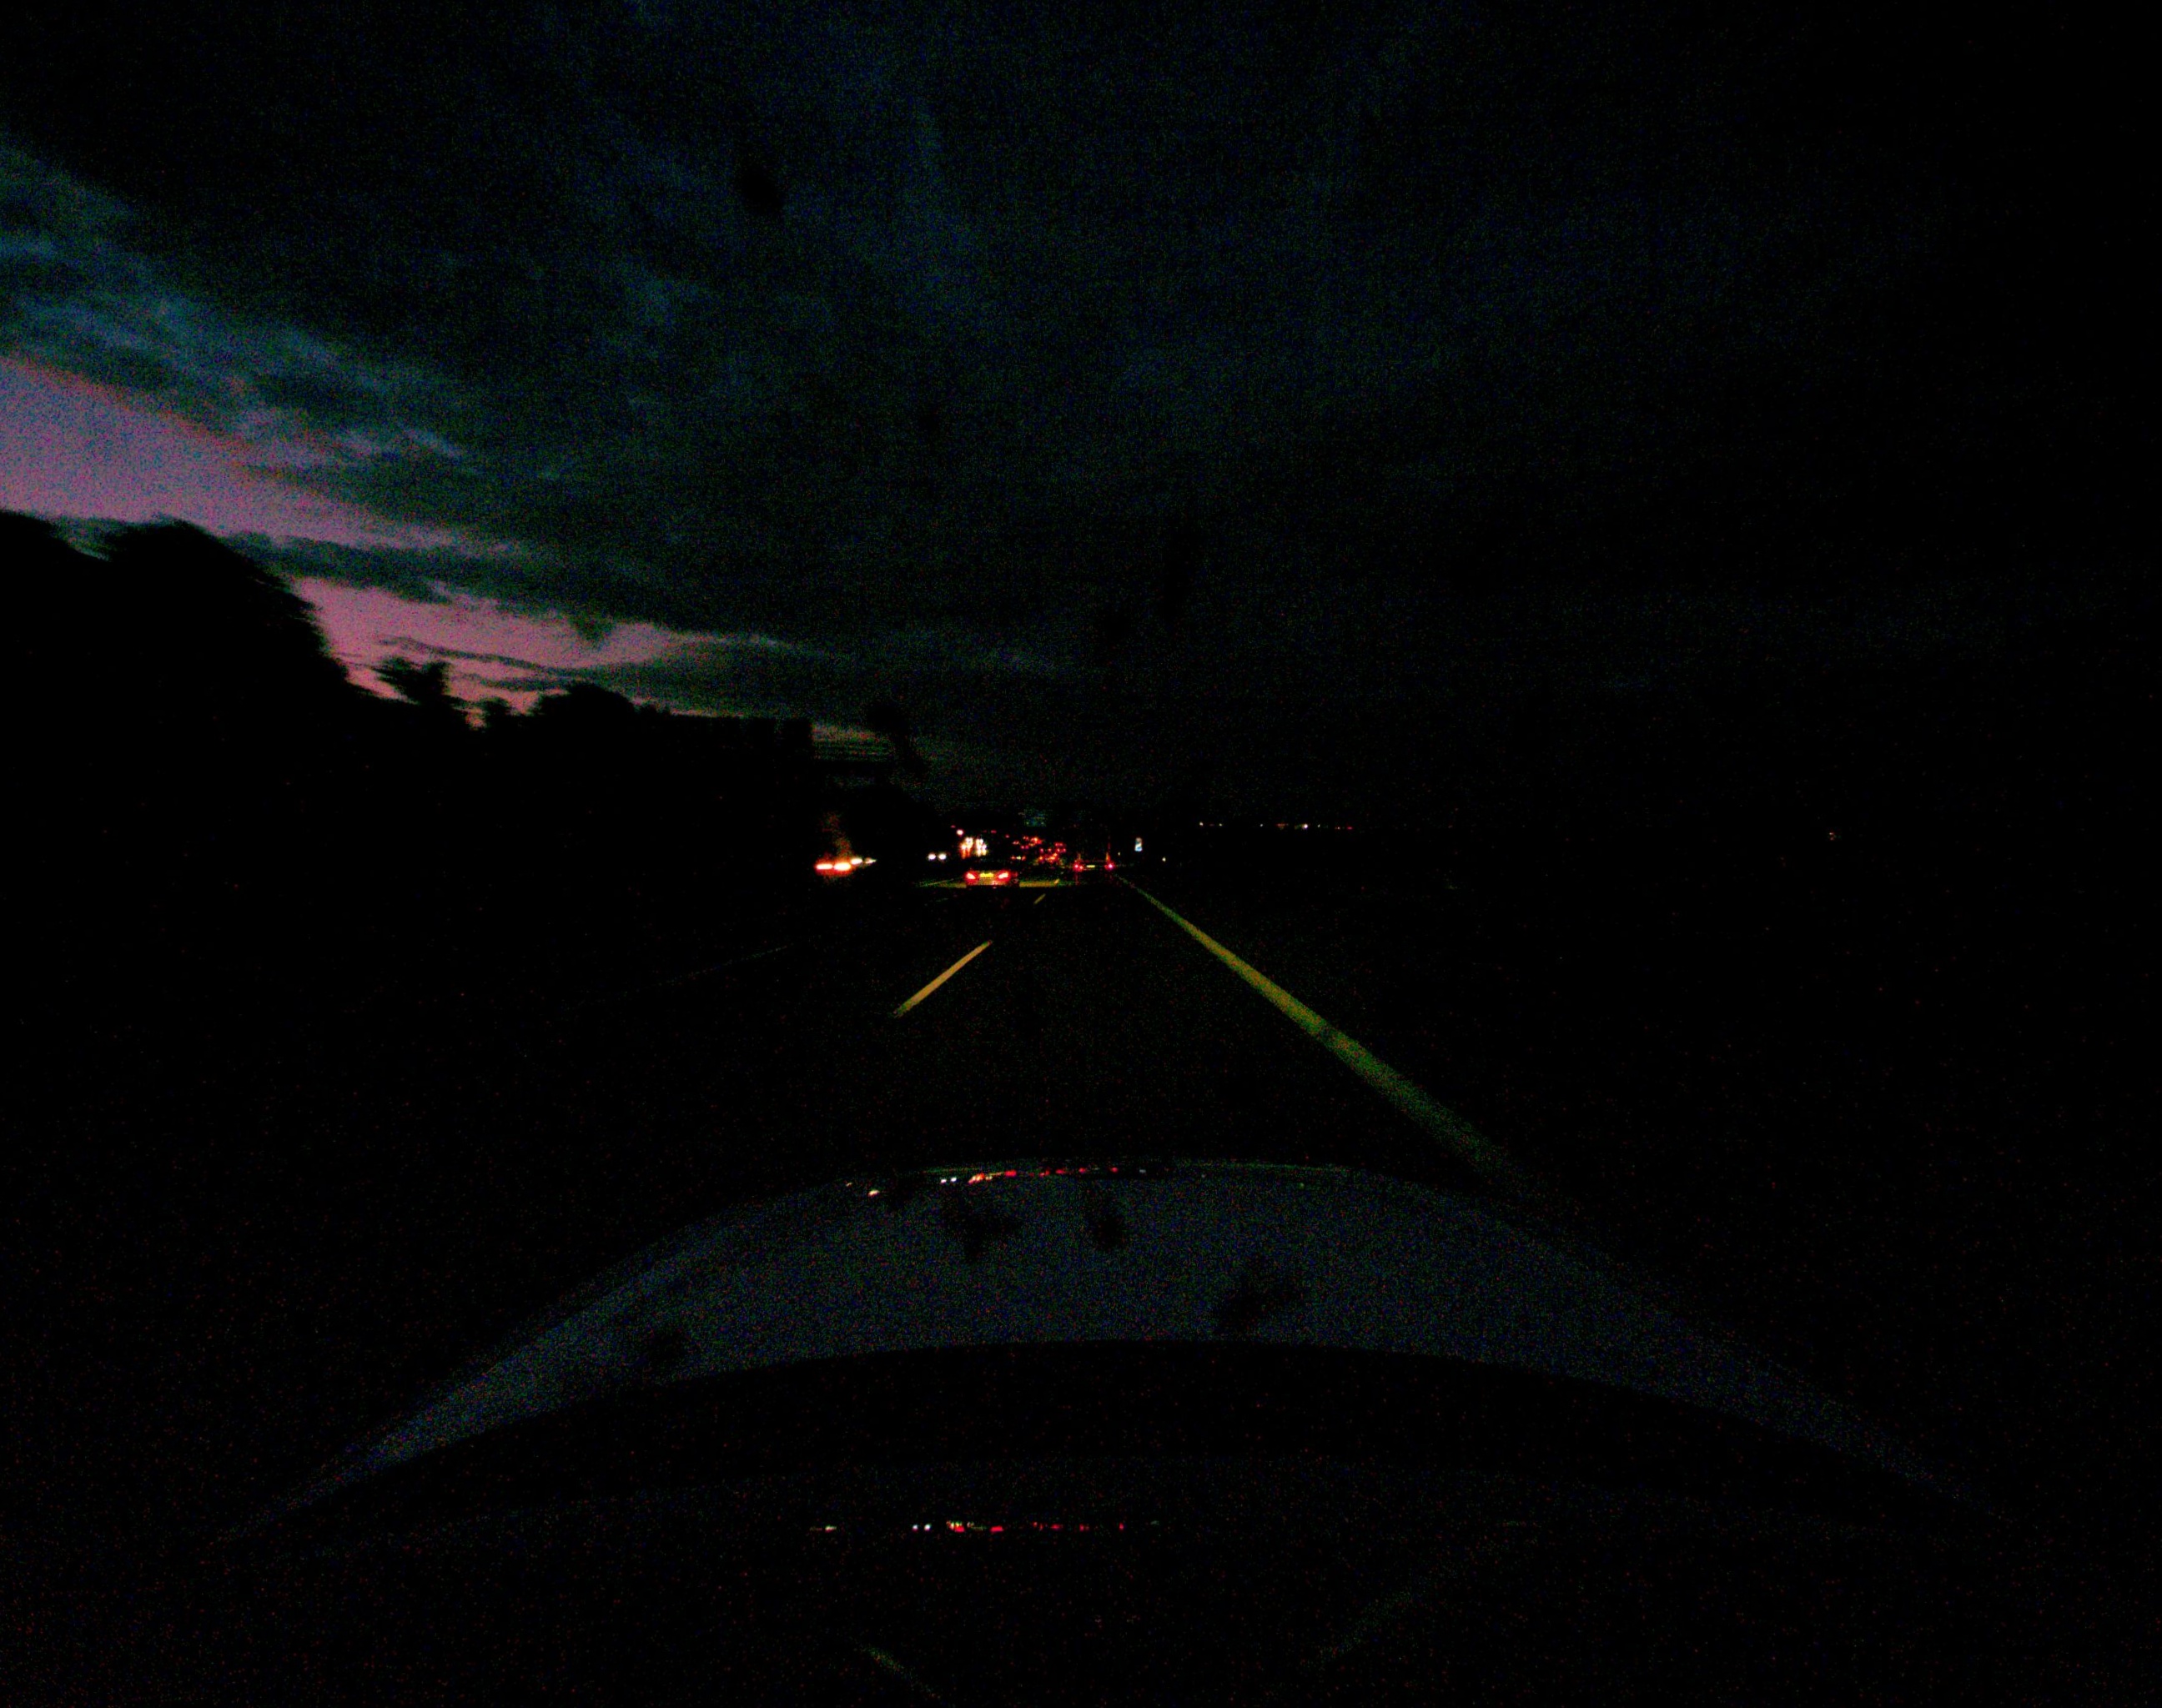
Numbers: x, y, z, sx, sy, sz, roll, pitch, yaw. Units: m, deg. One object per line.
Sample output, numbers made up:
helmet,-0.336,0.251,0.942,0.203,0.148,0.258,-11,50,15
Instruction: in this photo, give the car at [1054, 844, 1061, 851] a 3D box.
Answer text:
car,-6.719,-1.998,234.789,1.989,1.978,3.994,0,0,-4

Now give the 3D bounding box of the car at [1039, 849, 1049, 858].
car,-7.742,-0.094,168.650,1.989,2.014,3.995,0,0,-3

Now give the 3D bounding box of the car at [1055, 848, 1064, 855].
car,-4.635,-0.467,175.247,1.988,1.534,3.997,0,0,-2

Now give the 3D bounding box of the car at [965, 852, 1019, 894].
car,-3.594,0.742,33.801,1.902,1.614,4.799,0,0,-2

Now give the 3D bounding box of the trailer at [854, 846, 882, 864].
trailer,-23.910,0.117,91.701,1.906,2.002,4.241,1,0,1

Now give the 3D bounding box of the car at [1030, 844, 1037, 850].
car,-14.994,-2.228,257.372,1.990,1.622,3.993,0,0,-5

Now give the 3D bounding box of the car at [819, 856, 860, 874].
car,-18.705,0.832,63.338,1.683,1.354,4.898,0,0,1

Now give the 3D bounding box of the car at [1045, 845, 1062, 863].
car,-3.803,0.043,113.015,1.986,2.380,4.001,0,0,2

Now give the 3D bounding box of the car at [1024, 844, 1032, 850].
car,-14.624,-1.843,223.539,1.988,1.622,3.997,0,0,-2

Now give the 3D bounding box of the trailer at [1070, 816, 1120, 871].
trailer,0.965,-0.718,68.899,3.541,4.116,15.051,0,-1,-2

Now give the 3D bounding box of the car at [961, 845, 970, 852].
car,-33.588,-1.559,237.315,1.989,1.893,5.052,0,0,-3

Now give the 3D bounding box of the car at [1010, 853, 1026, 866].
car,-8.007,0.685,104.129,1.756,1.575,4.575,0,0,-1

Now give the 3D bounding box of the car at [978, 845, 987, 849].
car,-28.132,-1.929,232.367,2.054,1.226,5.230,0,0,-2

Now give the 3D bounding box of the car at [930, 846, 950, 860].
car,-19.935,-0.094,115.135,1.907,1.867,6.012,0,0,-1

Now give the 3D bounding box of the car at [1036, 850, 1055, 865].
car,-3.997,0.402,93.251,2.059,1.686,4.574,0,0,-1

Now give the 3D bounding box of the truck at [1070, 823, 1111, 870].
truck,0.781,-0.608,74.797,3.541,4.091,6.146,0,-1,-2
